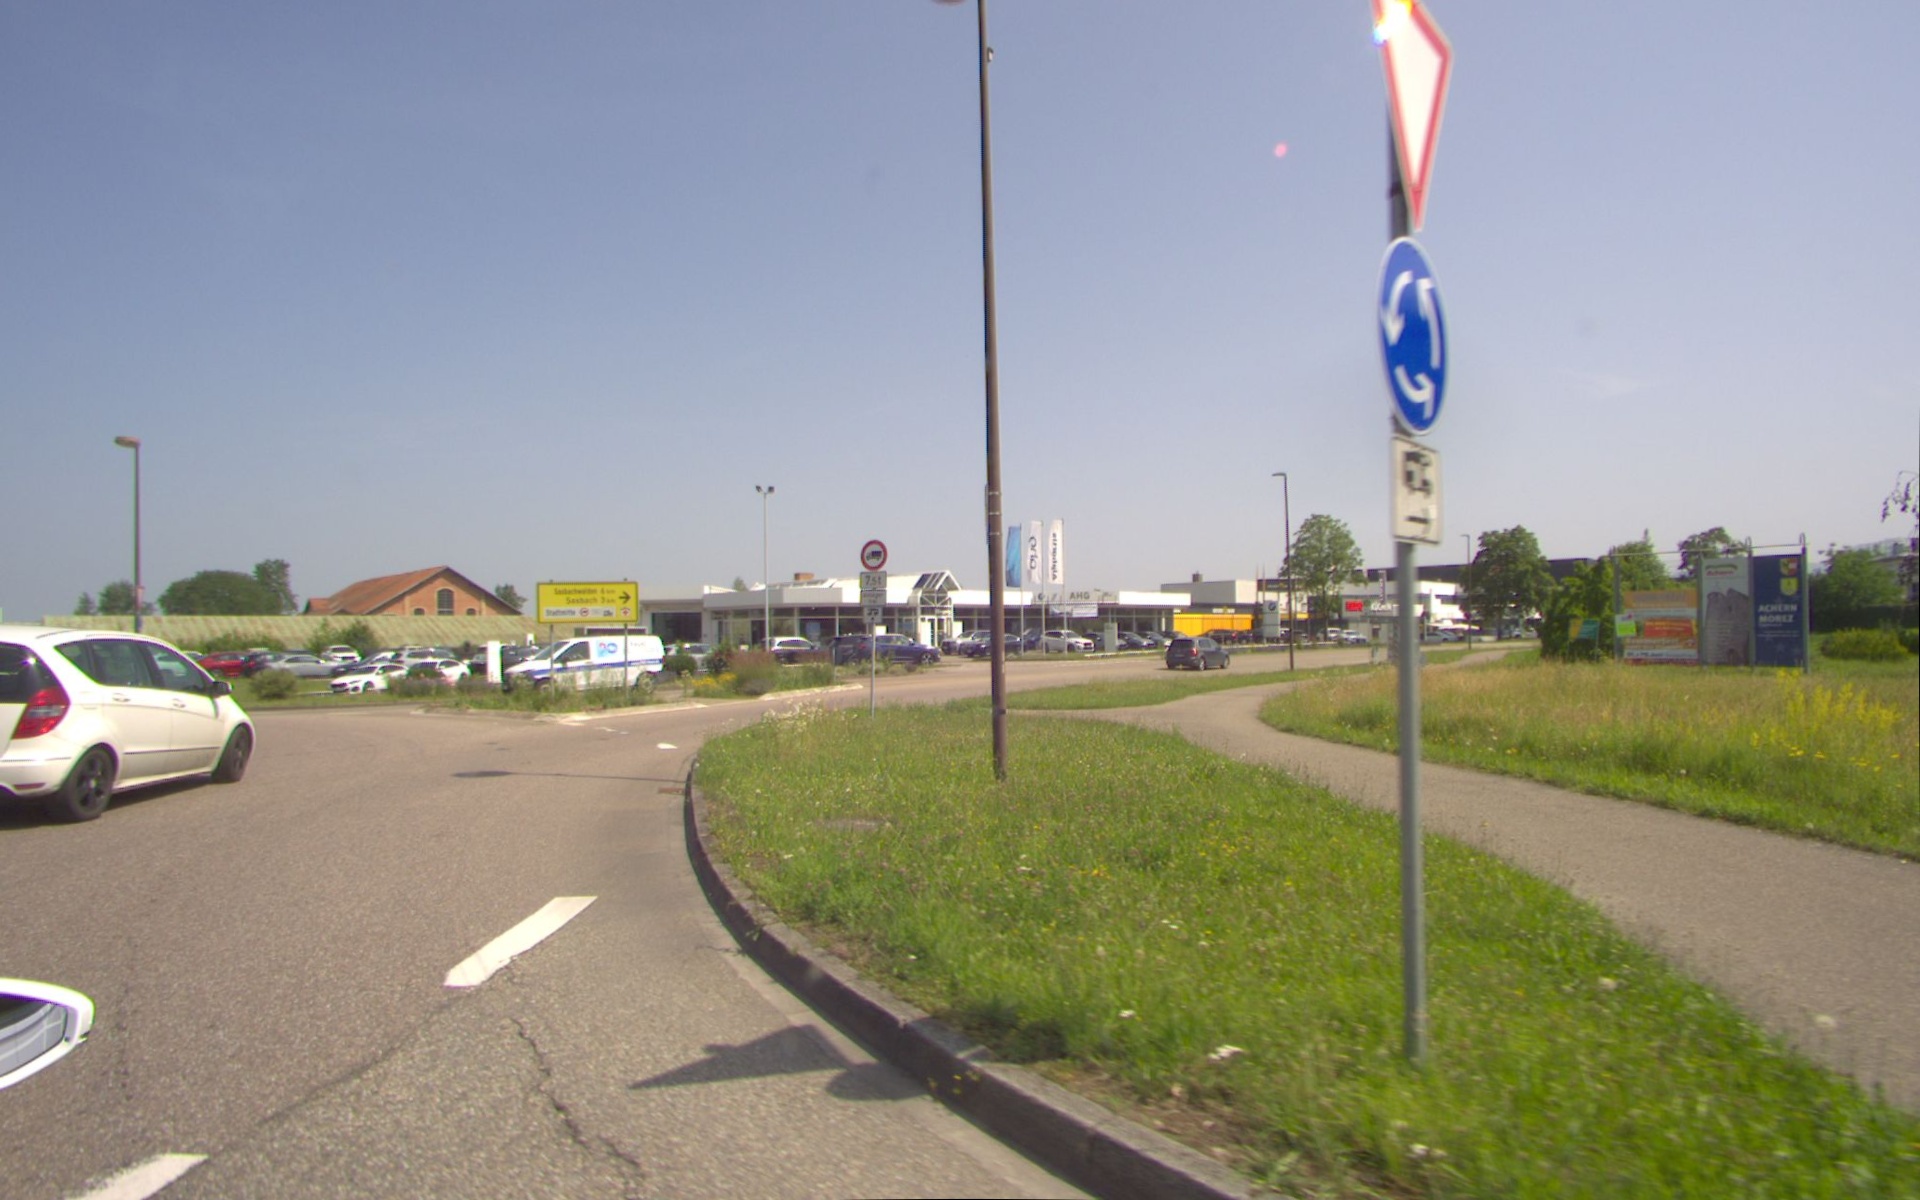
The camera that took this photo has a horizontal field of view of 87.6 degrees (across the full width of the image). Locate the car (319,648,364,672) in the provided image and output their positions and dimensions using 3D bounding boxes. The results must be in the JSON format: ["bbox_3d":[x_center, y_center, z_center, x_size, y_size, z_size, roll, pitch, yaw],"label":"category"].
[{"bbox_3d":[-44.922,4.379,72.663,1.904,1.616,4.263,0,-3,-44],"label":"car"}]

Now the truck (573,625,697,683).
[{"bbox_3d":[-16.173,2.633,50.057,5.567,2.699,1.933,0,-2,-42],"label":"truck"}]

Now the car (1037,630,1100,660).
[{"bbox_3d":[7.791,3.268,72.251,1.980,2.038,4.225,2,-5,-43],"label":"car"}]

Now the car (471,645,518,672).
[{"bbox_3d":[-30.306,3.778,65.315,1.626,1.606,4.268,-1,-2,-8],"label":"car"}]

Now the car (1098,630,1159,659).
[{"bbox_3d":[12.746,3.428,76.126,1.980,2.038,4.225,2,-5,-43],"label":"car"}]

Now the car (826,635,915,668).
[{"bbox_3d":[-4.646,2.635,51.650,4.296,1.532,1.908,-1,-2,-15],"label":"car"}]

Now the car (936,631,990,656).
[{"bbox_3d":[0.244,3.015,69.121,3.663,1.674,1.567,2,-5,-44],"label":"car"}]

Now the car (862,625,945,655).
[{"bbox_3d":[-3.169,2.248,55.994,4.296,1.532,1.908,-1,-2,-15],"label":"car"}]

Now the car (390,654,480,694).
[{"bbox_3d":[-26.054,3.647,49.901,1.734,1.591,4.664,-2,0,3],"label":"car"}]

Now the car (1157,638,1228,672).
[{"bbox_3d":[11.285,2.624,48.475,1.753,1.503,4.011,-2,-2,39],"label":"car"}]

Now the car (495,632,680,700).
[{"bbox_3d":[-11.638,2.060,31.507,5.176,1.961,1.846,2,-5,-42],"label":"car"}]

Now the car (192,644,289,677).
[{"bbox_3d":[-43.016,3.595,59.955,1.929,1.769,4.429,-3,-3,43],"label":"car"}]

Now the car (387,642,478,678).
[{"bbox_3d":[-29.028,3.284,55.157,1.929,1.773,3.973,-3,-1,43],"label":"car"}]

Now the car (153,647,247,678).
[{"bbox_3d":[-47.339,3.873,62.462,1.820,1.769,4.429,-3,-2,43],"label":"car"}]

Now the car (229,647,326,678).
[{"bbox_3d":[-40.060,3.650,58.851,1.929,1.655,4.429,-3,-3,43],"label":"car"}]

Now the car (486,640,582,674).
[{"bbox_3d":[-23.217,3.087,54.725,1.930,1.519,4.386,-4,-1,43],"label":"car"}]

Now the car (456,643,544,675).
[{"bbox_3d":[-25.525,3.260,55.643,1.929,1.520,3.973,-1,0,43],"label":"car"}]

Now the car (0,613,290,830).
[{"bbox_3d":[-8.135,0.976,9.320,1.754,1.623,3.892,1,-2,-11],"label":"car"}]

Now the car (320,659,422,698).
[{"bbox_3d":[-28.815,3.798,49.159,1.735,1.590,4.577,-3,-2,9],"label":"car"}]

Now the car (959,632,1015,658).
[{"bbox_3d":[1.806,2.988,66.607,3.663,1.674,1.567,2,-5,-44],"label":"car"}]

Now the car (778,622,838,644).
[{"bbox_3d":[-11.335,2.454,74.849,3.998,1.606,1.893,0,-2,-42],"label":"car"}]

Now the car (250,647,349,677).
[{"bbox_3d":[-38.012,3.549,57.704,1.929,1.519,4.429,-3,-2,43],"label":"car"}]

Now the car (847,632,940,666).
[{"bbox_3d":[-3.310,2.418,49.767,4.296,1.532,1.908,-1,-2,-15],"label":"car"}]

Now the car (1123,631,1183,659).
[{"bbox_3d":[15.016,3.524,78.226,1.980,2.038,4.225,2,-5,-43],"label":"car"}]

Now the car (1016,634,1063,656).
[{"bbox_3d":[6.234,3.532,78.372,3.663,1.674,1.567,2,-5,-44],"label":"car"}]

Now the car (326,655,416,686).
[{"bbox_3d":[-32.303,3.838,54.969,3.966,1.546,1.933,0,-2,-41],"label":"car"}]
